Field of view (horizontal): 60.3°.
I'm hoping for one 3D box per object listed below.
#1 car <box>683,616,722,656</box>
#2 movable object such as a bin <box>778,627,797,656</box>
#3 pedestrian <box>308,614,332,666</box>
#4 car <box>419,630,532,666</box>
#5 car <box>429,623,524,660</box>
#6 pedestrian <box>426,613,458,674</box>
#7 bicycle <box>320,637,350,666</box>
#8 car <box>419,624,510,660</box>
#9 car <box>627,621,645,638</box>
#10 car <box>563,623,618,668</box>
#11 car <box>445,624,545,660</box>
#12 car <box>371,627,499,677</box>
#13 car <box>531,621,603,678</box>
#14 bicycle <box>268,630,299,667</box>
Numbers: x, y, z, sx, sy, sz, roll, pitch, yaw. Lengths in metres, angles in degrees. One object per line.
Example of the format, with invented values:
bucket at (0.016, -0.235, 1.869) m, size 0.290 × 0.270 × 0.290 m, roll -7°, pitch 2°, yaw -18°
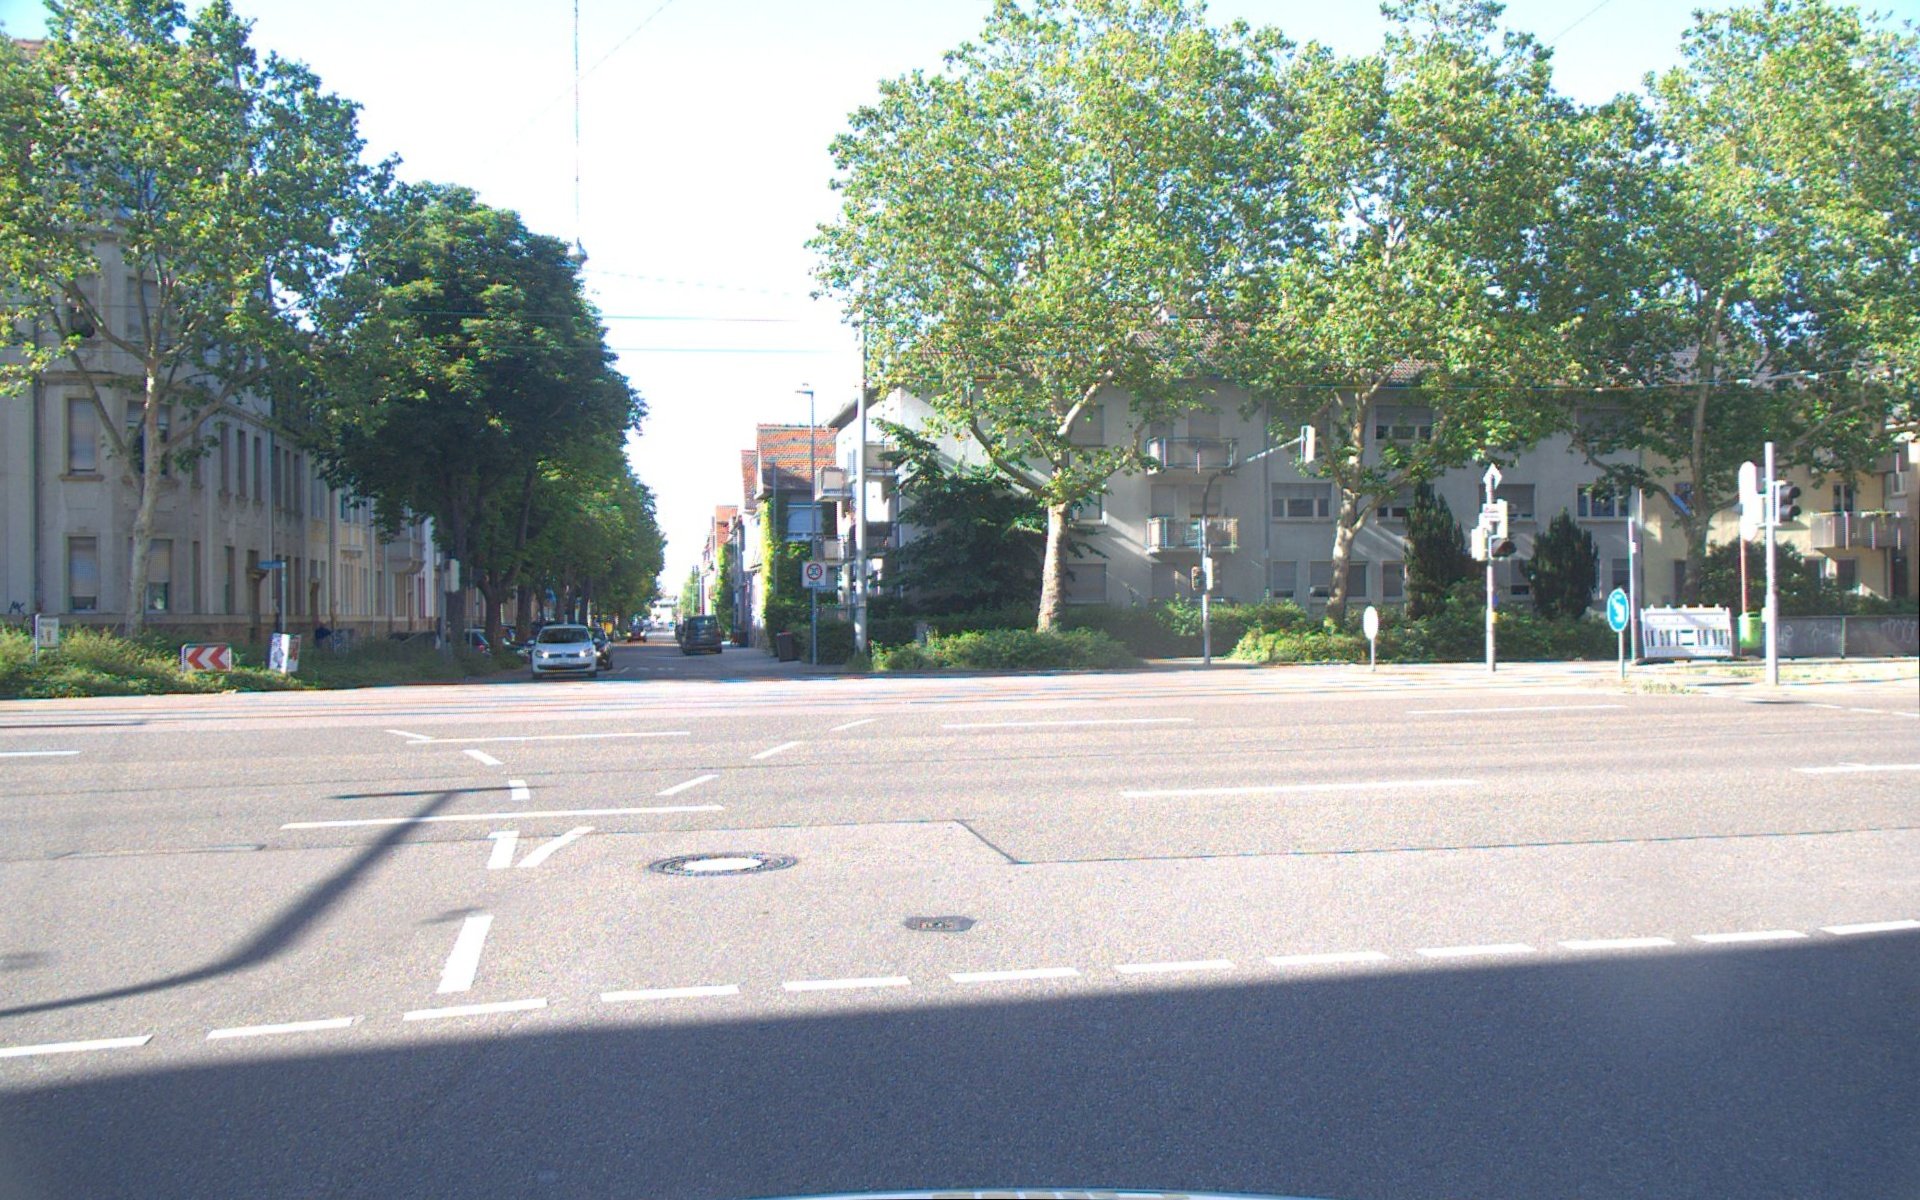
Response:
car at (-13.417, 1.856, 85.992) m, size 1.831 × 1.949 × 4.770 m, roll 3°, pitch -1°, yaw -10°
movable object such as a bin at (-6.625, 1.577, 63.451) m, size 0.587 × 1.062 × 0.705 m, roll -4°, pitch 0°, yaw -13°
pedestrian at (-21.206, 1.322, 54.802) m, size 0.450 × 1.687 × 0.894 m, roll -1°, pitch -1°, yaw -2°
car at (-19.237, 1.900, 65.779) m, size 4.136 × 1.372 × 1.698 m, roll 0°, pitch -2°, yaw -11°
car at (-21.899, 1.885, 74.987) m, size 3.914 × 1.534 × 1.718 m, roll -2°, pitch -1°, yaw -10°
pedestrian at (-14.850, 1.239, 47.450) m, size 0.679 × 1.711 × 0.680 m, roll -1°, pitch -1°, yaw 0°
bicycle at (-20.745, 1.687, 54.881) m, size 0.462 × 0.928 × 1.595 m, roll -1°, pitch -1°, yaw -3°
car at (-20.283, 1.722, 67.821) m, size 3.369 × 1.477 × 1.700 m, roll 0°, pitch -2°, yaw -9°
car at (-29.606, 2.682, 151.165) m, size 1.612 × 1.535 × 3.692 m, roll -2°, pitch 0°, yaw -11°
car at (-12.822, 1.555, 57.525) m, size 1.630 × 1.490 × 3.800 m, roll -1°, pitch -1°, yaw -9°
car at (-19.771, 1.799, 70.443) m, size 3.913 × 1.508 × 1.781 m, roll 0°, pitch -1°, yaw -9°
car at (-17.323, 1.699, 54.698) m, size 3.813 × 1.501 × 1.611 m, roll -2°, pitch -1°, yaw -11°
car at (-10.945, 1.391, 46.270) m, size 1.774 × 1.484 × 3.989 m, roll -1°, pitch -2°, yaw -11°
bicycle at (-22.470, 1.601, 54.954) m, size 0.504 × 1.174 × 1.977 m, roll 2°, pitch 0°, yaw -10°
